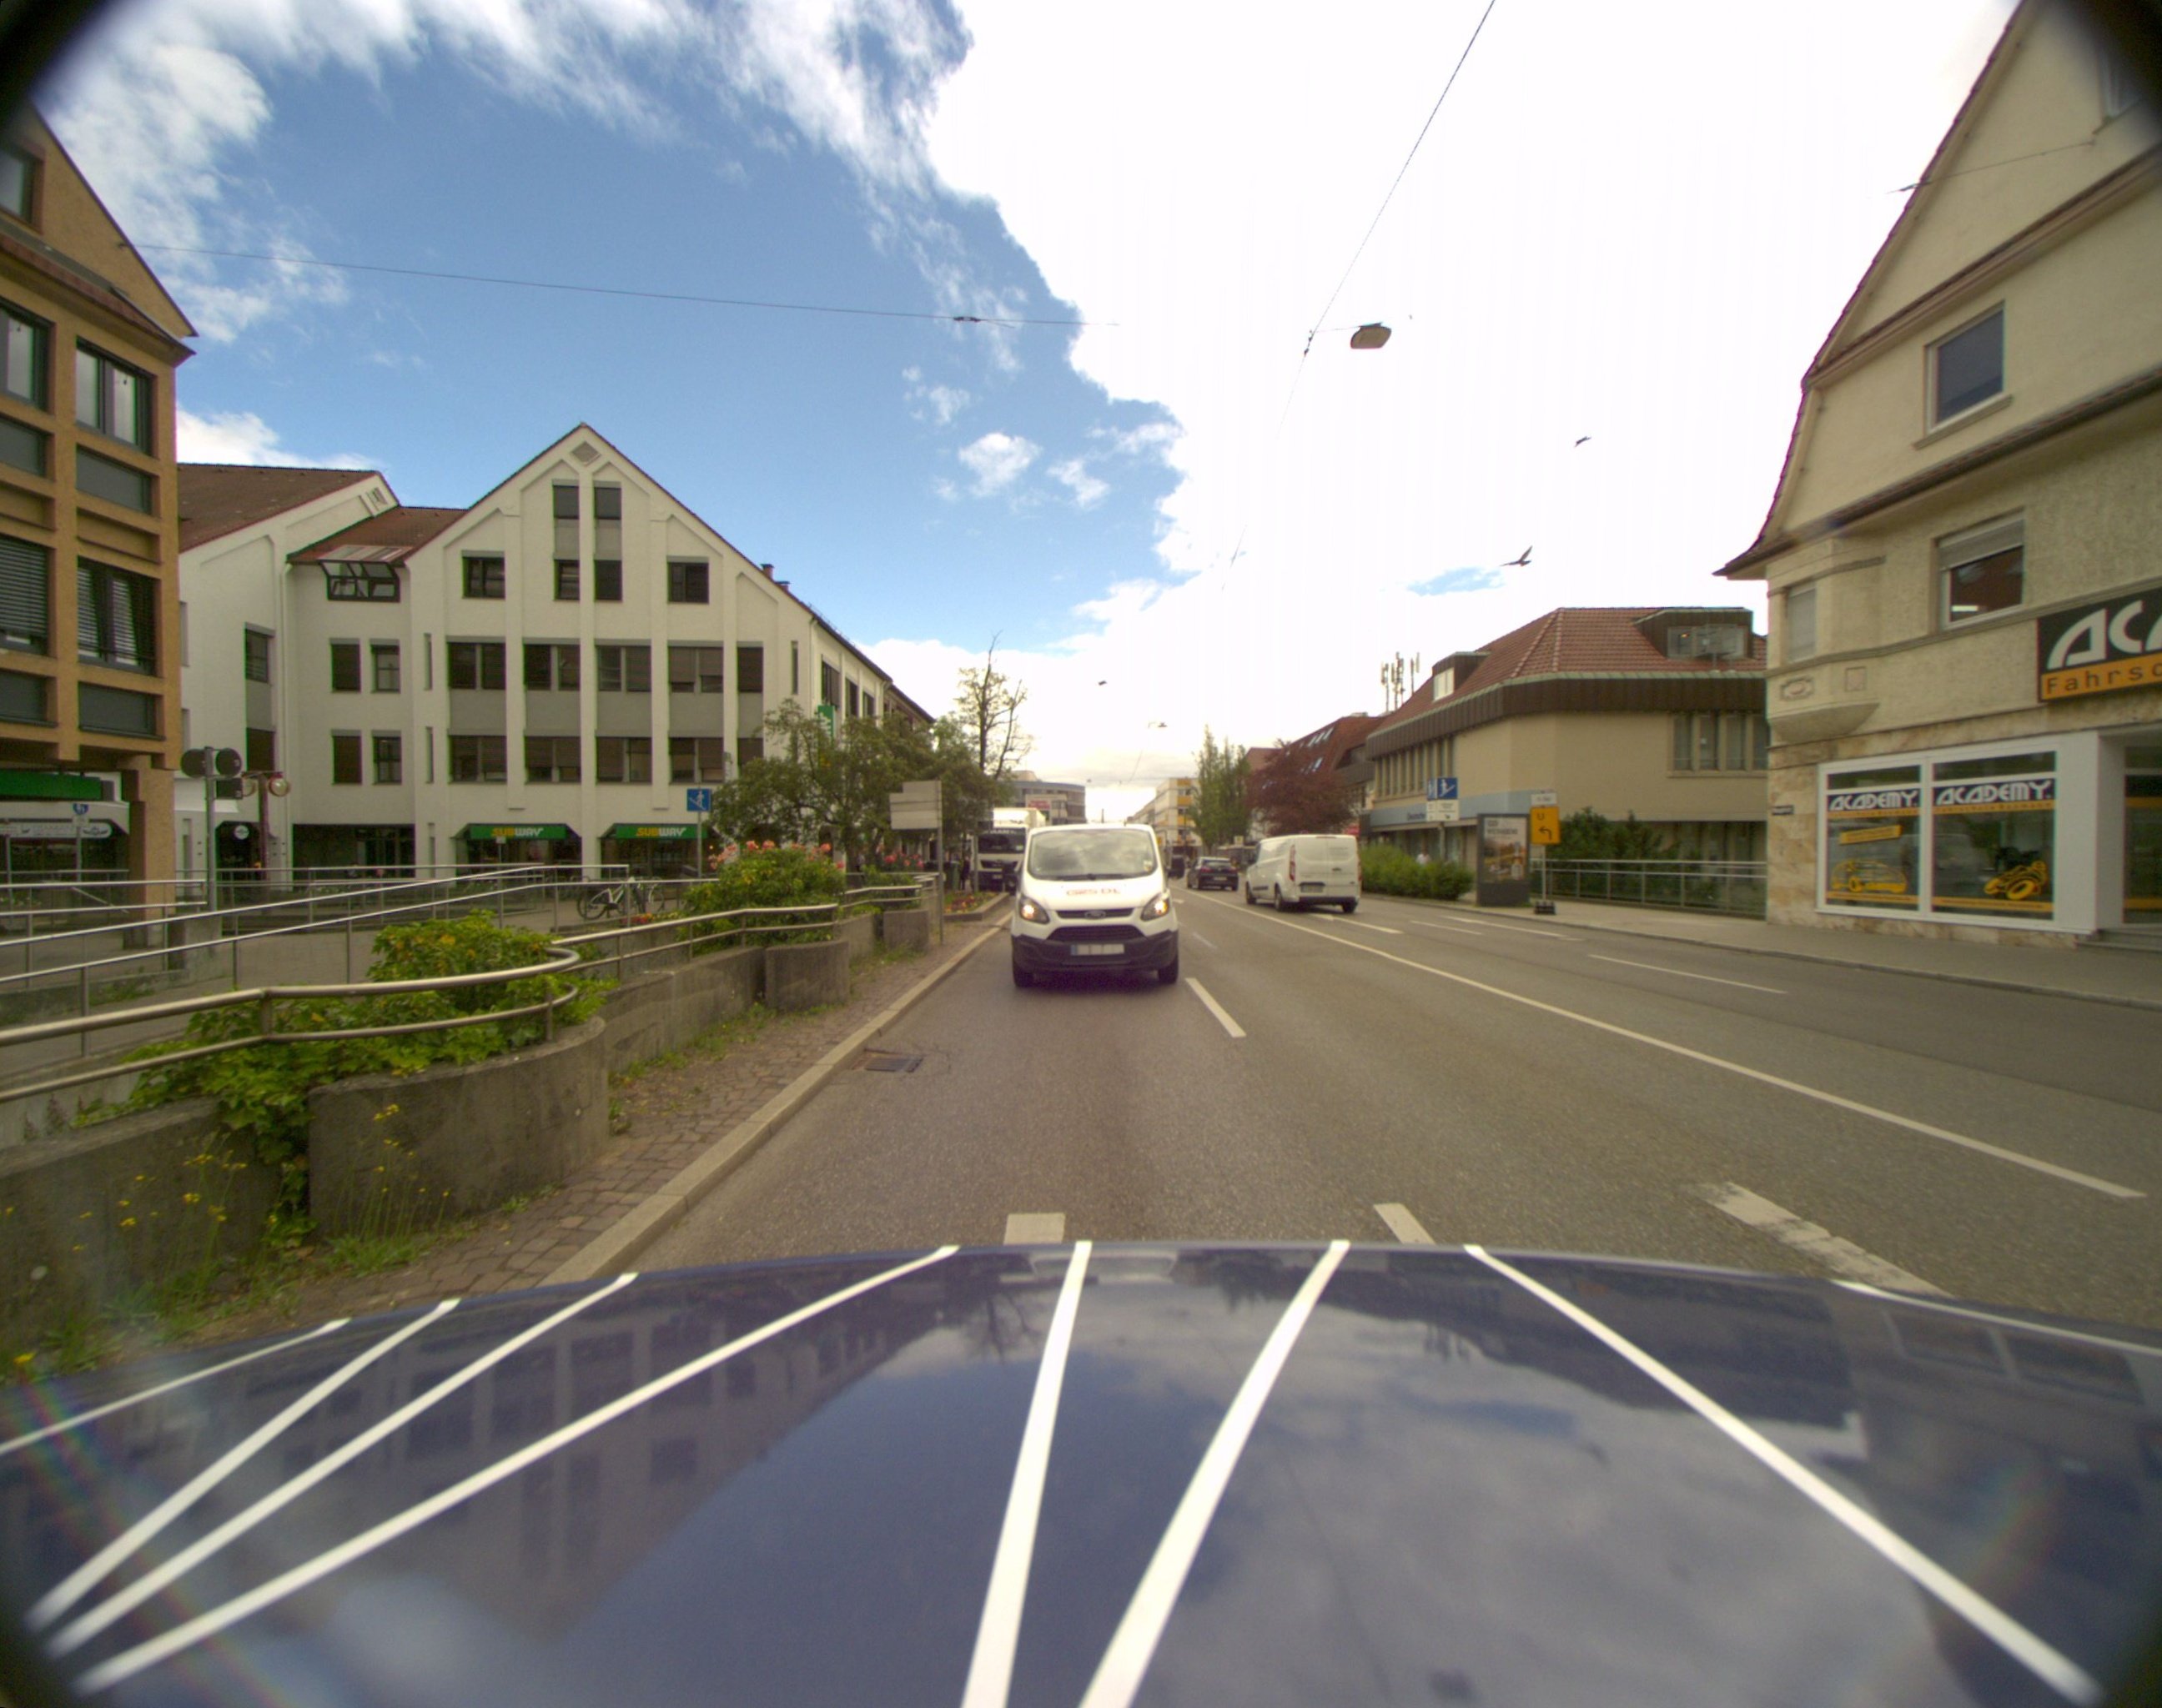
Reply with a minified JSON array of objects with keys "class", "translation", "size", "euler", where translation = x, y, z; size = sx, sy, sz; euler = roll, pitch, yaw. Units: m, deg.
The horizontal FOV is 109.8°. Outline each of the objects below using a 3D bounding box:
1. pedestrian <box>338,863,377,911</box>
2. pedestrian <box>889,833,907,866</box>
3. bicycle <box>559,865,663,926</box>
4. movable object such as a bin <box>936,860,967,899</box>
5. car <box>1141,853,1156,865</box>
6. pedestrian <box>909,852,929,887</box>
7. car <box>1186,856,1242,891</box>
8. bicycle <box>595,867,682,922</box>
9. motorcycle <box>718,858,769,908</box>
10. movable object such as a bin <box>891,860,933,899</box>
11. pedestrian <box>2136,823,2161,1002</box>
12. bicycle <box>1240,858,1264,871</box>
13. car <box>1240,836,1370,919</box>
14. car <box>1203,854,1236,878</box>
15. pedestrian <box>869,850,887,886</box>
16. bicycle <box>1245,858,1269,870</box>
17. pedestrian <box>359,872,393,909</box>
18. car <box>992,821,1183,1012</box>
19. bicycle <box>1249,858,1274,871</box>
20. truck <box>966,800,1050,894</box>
[{"class":"pedestrian","translation":[-22.587,1.011,23.743],"size":[0.608,1.467,0.620],"euler":[0,1,0]},{"class":"pedestrian","translation":[-8.801,-0.217,36.539],"size":[0.745,1.593,0.574],"euler":[0,1,-3]},{"class":"bicycle","translation":[-10.696,0.926,17.354],"size":[1.821,1.319,0.843],"euler":[0,0,-3]},{"class":"movable object such as a bin","translation":[-4.573,0.899,26.889],"size":[0.883,1.331,1.085],"euler":[0,0,2]},{"class":"car","translation":[9.322,0.690,104.938],"size":[1.644,1.559,3.926],"euler":[2,0,0]},{"class":"pedestrian","translation":[-7.560,0.725,35.447],"size":[0.747,1.593,0.573],"euler":[0,1,-28]},{"class":"car","translation":[5.695,0.808,32.868],"size":[1.621,1.420,3.922],"euler":[0,0,-2]},{"class":"bicycle","translation":[-10.601,0.960,18.250],"size":[1.679,1.251,0.669],"euler":[0,0,-3]},{"class":"motorcycle","translation":[-10.175,0.845,22.996],"size":[0.722,1.430,1.945],"euler":[0,0,-2]},{"class":"movable object such as a bin","translation":[-5.997,0.890,27.107],"size":[1.146,1.331,1.376],"euler":[0,0,2]},{"class":"pedestrian","translation":[11.300,0.596,7.558],"size":[0.635,1.813,0.680],"euler":[0,1,0]},{"class":"bicycle","translation":[15.525,0.944,69.004],"size":[2.024,1.084,0.649],"euler":[0,0,-5]},{"class":"car","translation":[5.946,0.558,20.908],"size":[1.966,1.949,5.139],"euler":[1,0,-1]},{"class":"car","translation":[9.431,0.796,52.035],"size":[1.621,1.514,3.507],"euler":[1,0,0]},{"class":"pedestrian","translation":[-9.256,0.635,34.691],"size":[0.574,1.593,0.746],"euler":[0,1,1]},{"class":"bicycle","translation":[15.764,0.909,67.949],"size":[2.024,1.084,0.648],"euler":[0,0,-9]},{"class":"pedestrian","translation":[-23.162,1.191,24.976],"size":[0.620,1.193,0.513],"euler":[0,1,-2]},{"class":"car","translation":[0.207,0.678,10.569],"size":[1.998,2.002,5.000],"euler":[-1,0,3]},{"class":"bicycle","translation":[15.669,0.908,66.047],"size":[2.024,1.084,0.648],"euler":[0,0,-9]},{"class":"truck","translation":[-2.949,-0.260,33.361],"size":[2.695,3.540,9.766],"euler":[0,0,0]}]
